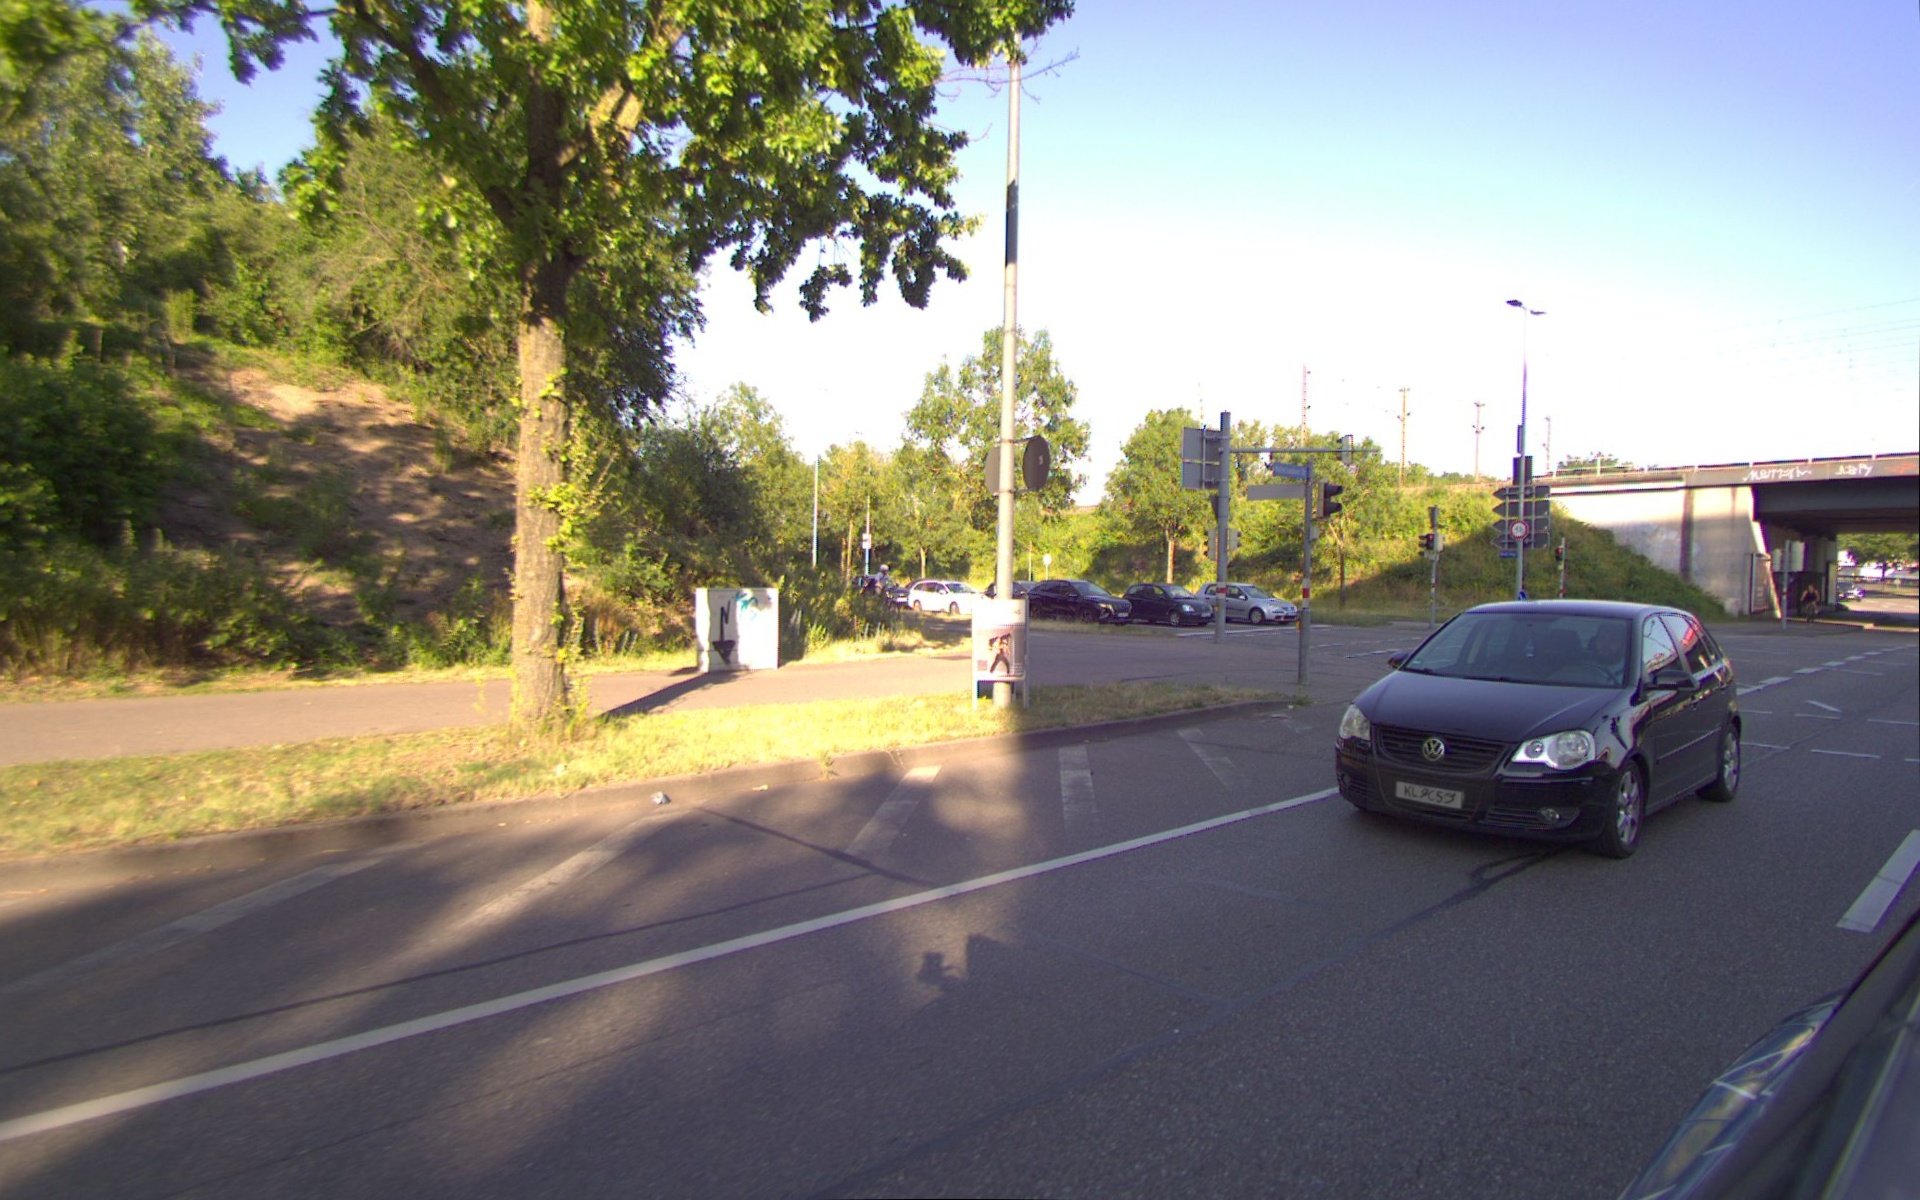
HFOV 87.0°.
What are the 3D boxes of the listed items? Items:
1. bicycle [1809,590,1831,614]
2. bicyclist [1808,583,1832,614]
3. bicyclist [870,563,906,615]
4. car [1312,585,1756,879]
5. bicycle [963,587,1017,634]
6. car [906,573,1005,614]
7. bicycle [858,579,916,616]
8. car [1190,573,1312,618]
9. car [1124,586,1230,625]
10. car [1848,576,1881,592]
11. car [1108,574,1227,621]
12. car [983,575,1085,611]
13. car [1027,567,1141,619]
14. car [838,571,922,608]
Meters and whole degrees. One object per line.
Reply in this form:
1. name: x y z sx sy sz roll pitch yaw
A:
1. bicycle: 40.808 0.095 48.036 0.779 1.070 2.460 0 1 41
2. bicyclist: 40.816 -0.065 48.019 0.840 1.439 1.098 0 1 41
3. bicyclist: -2.280 -0.346 32.022 0.779 1.614 0.858 -1 1 -41
4. car: 4.069 0.641 6.927 3.621 1.427 1.618 -2 1 -43
5. bicycle: 0.700 0.223 24.015 0.566 1.003 1.671 3 1 -24
6. car: -0.233 -0.295 41.883 2.002 1.587 4.343 -1 1 -34
7. bicycle: -2.322 -0.082 32.078 0.807 1.126 2.016 -1 1 -41
8. car: 10.674 -0.176 37.297 1.857 1.549 3.996 -2 1 -39
9. car: 9.391 0.195 44.109 2.002 1.587 4.343 -1 1 -34
10. car: 84.410 -1.520 94.498 1.866 1.457 3.636 0 1 36
11. car: 7.434 -0.125 36.548 1.962 1.549 4.001 -1 1 -34
12. car: 3.052 -0.313 42.485 2.002 1.425 4.343 -1 1 -34
13. car: 4.306 -0.279 35.668 1.827 1.715 4.001 -1 1 -34
14. car: -3.790 -0.504 47.057 2.002 1.587 4.343 -1 1 -34
